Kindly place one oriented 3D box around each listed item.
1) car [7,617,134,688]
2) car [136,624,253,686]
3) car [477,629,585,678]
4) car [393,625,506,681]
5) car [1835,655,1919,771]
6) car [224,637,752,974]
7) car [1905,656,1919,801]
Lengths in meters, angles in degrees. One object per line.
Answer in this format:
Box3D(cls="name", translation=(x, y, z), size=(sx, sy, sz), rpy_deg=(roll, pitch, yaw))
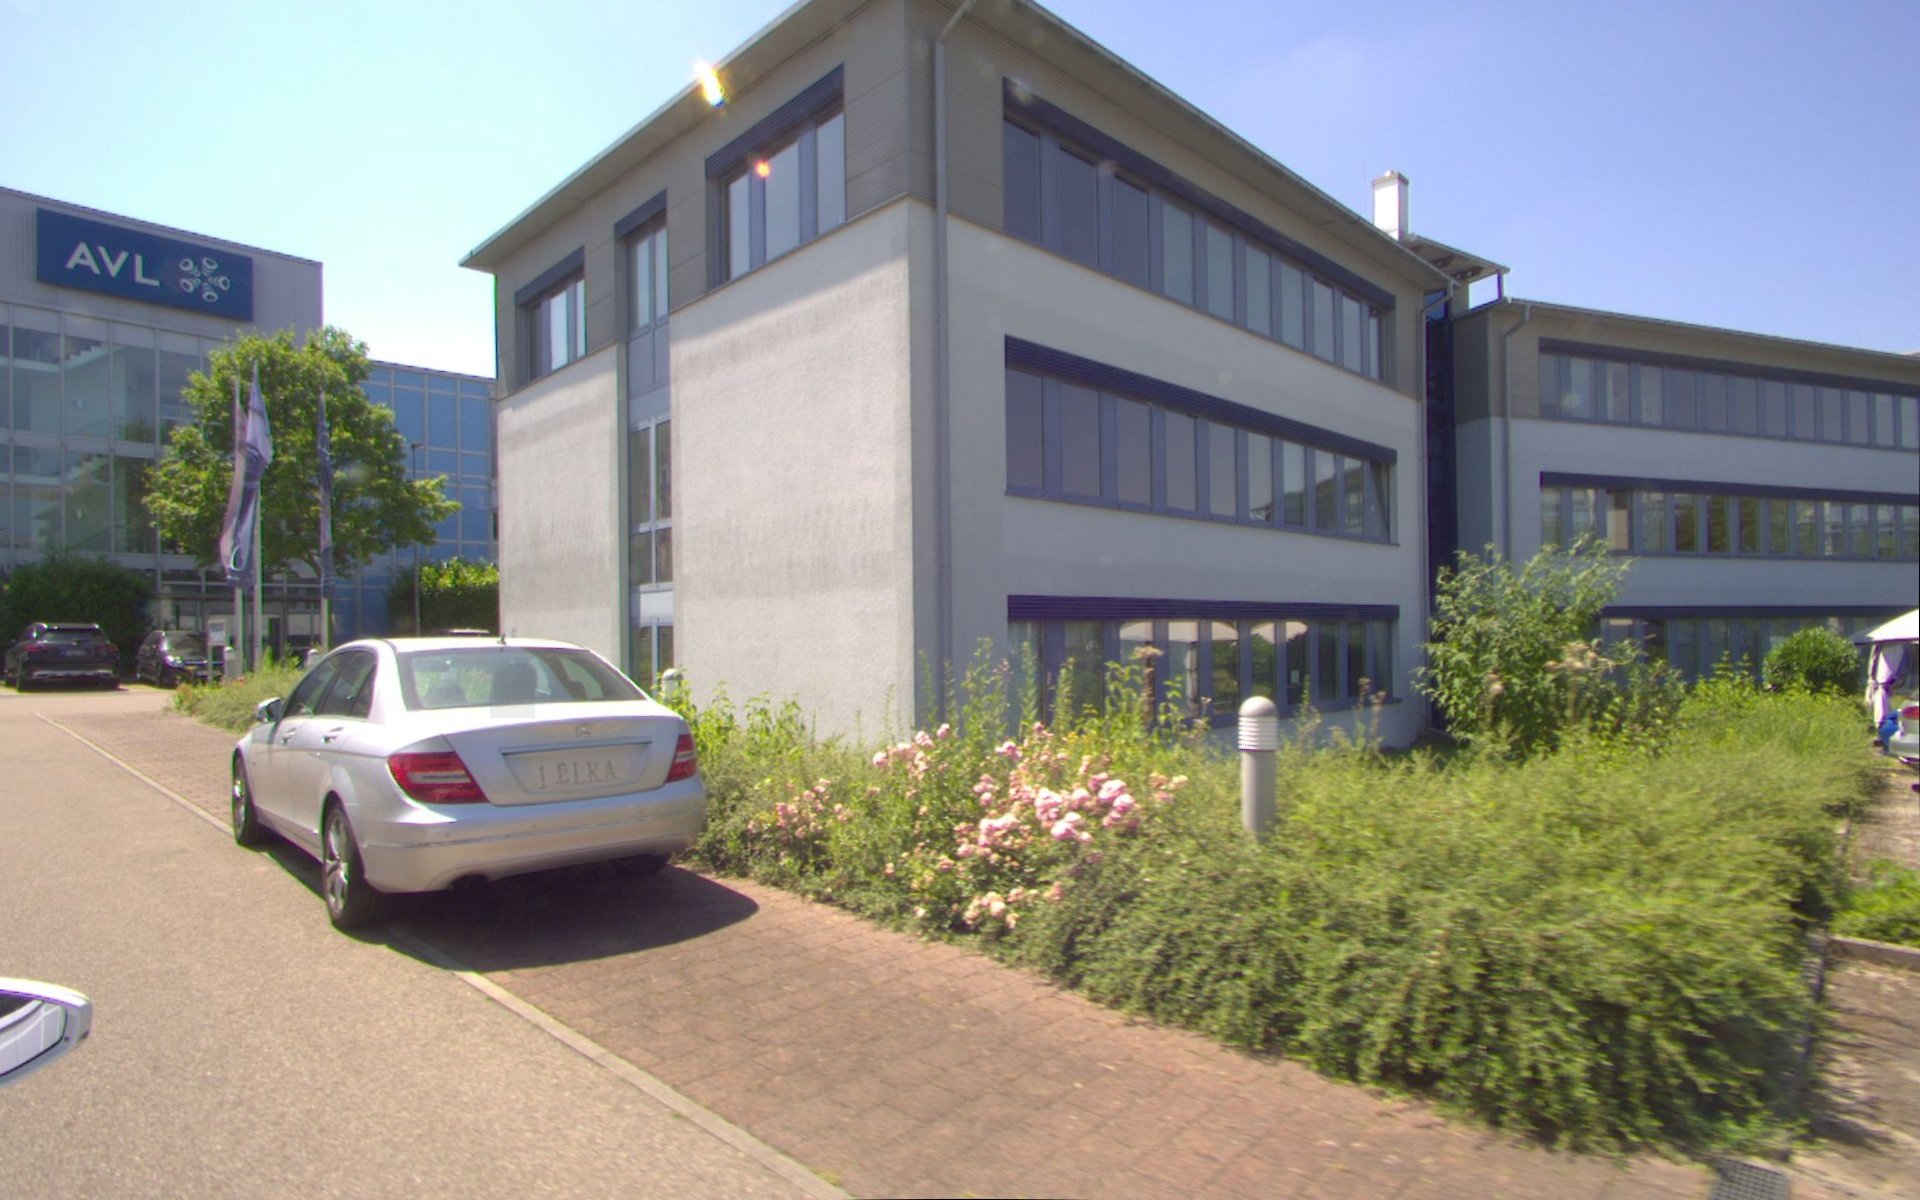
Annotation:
Box3D(cls="car", translation=(-22.509, 1.287, 25.294), size=(3.941, 1.631, 1.918), rpy_deg=(0, -3, 42))
Box3D(cls="car", translation=(-20.824, 1.437, 27.179), size=(4.210, 1.501, 1.761), rpy_deg=(0, -1, 42))
Box3D(cls="car", translation=(-14.802, 1.816, 34.428), size=(4.290, 1.510, 1.728), rpy_deg=(0, -3, 42))
Box3D(cls="car", translation=(-16.495, 1.656, 32.298), size=(4.290, 1.640, 1.811), rpy_deg=(0, -1, 42))
Box3D(cls="car", translation=(14.374, 1.520, 12.970), size=(4.562, 1.512, 1.842), rpy_deg=(-1, -3, 43))
Box3D(cls="car", translation=(-3.284, 0.955, 6.445), size=(1.788, 1.416, 4.378), rpy_deg=(2, -3, -44))
Box3D(cls="car", translation=(12.417, 1.371, 9.923), size=(4.379, 1.539, 1.842), rpy_deg=(-1, -3, 43))
